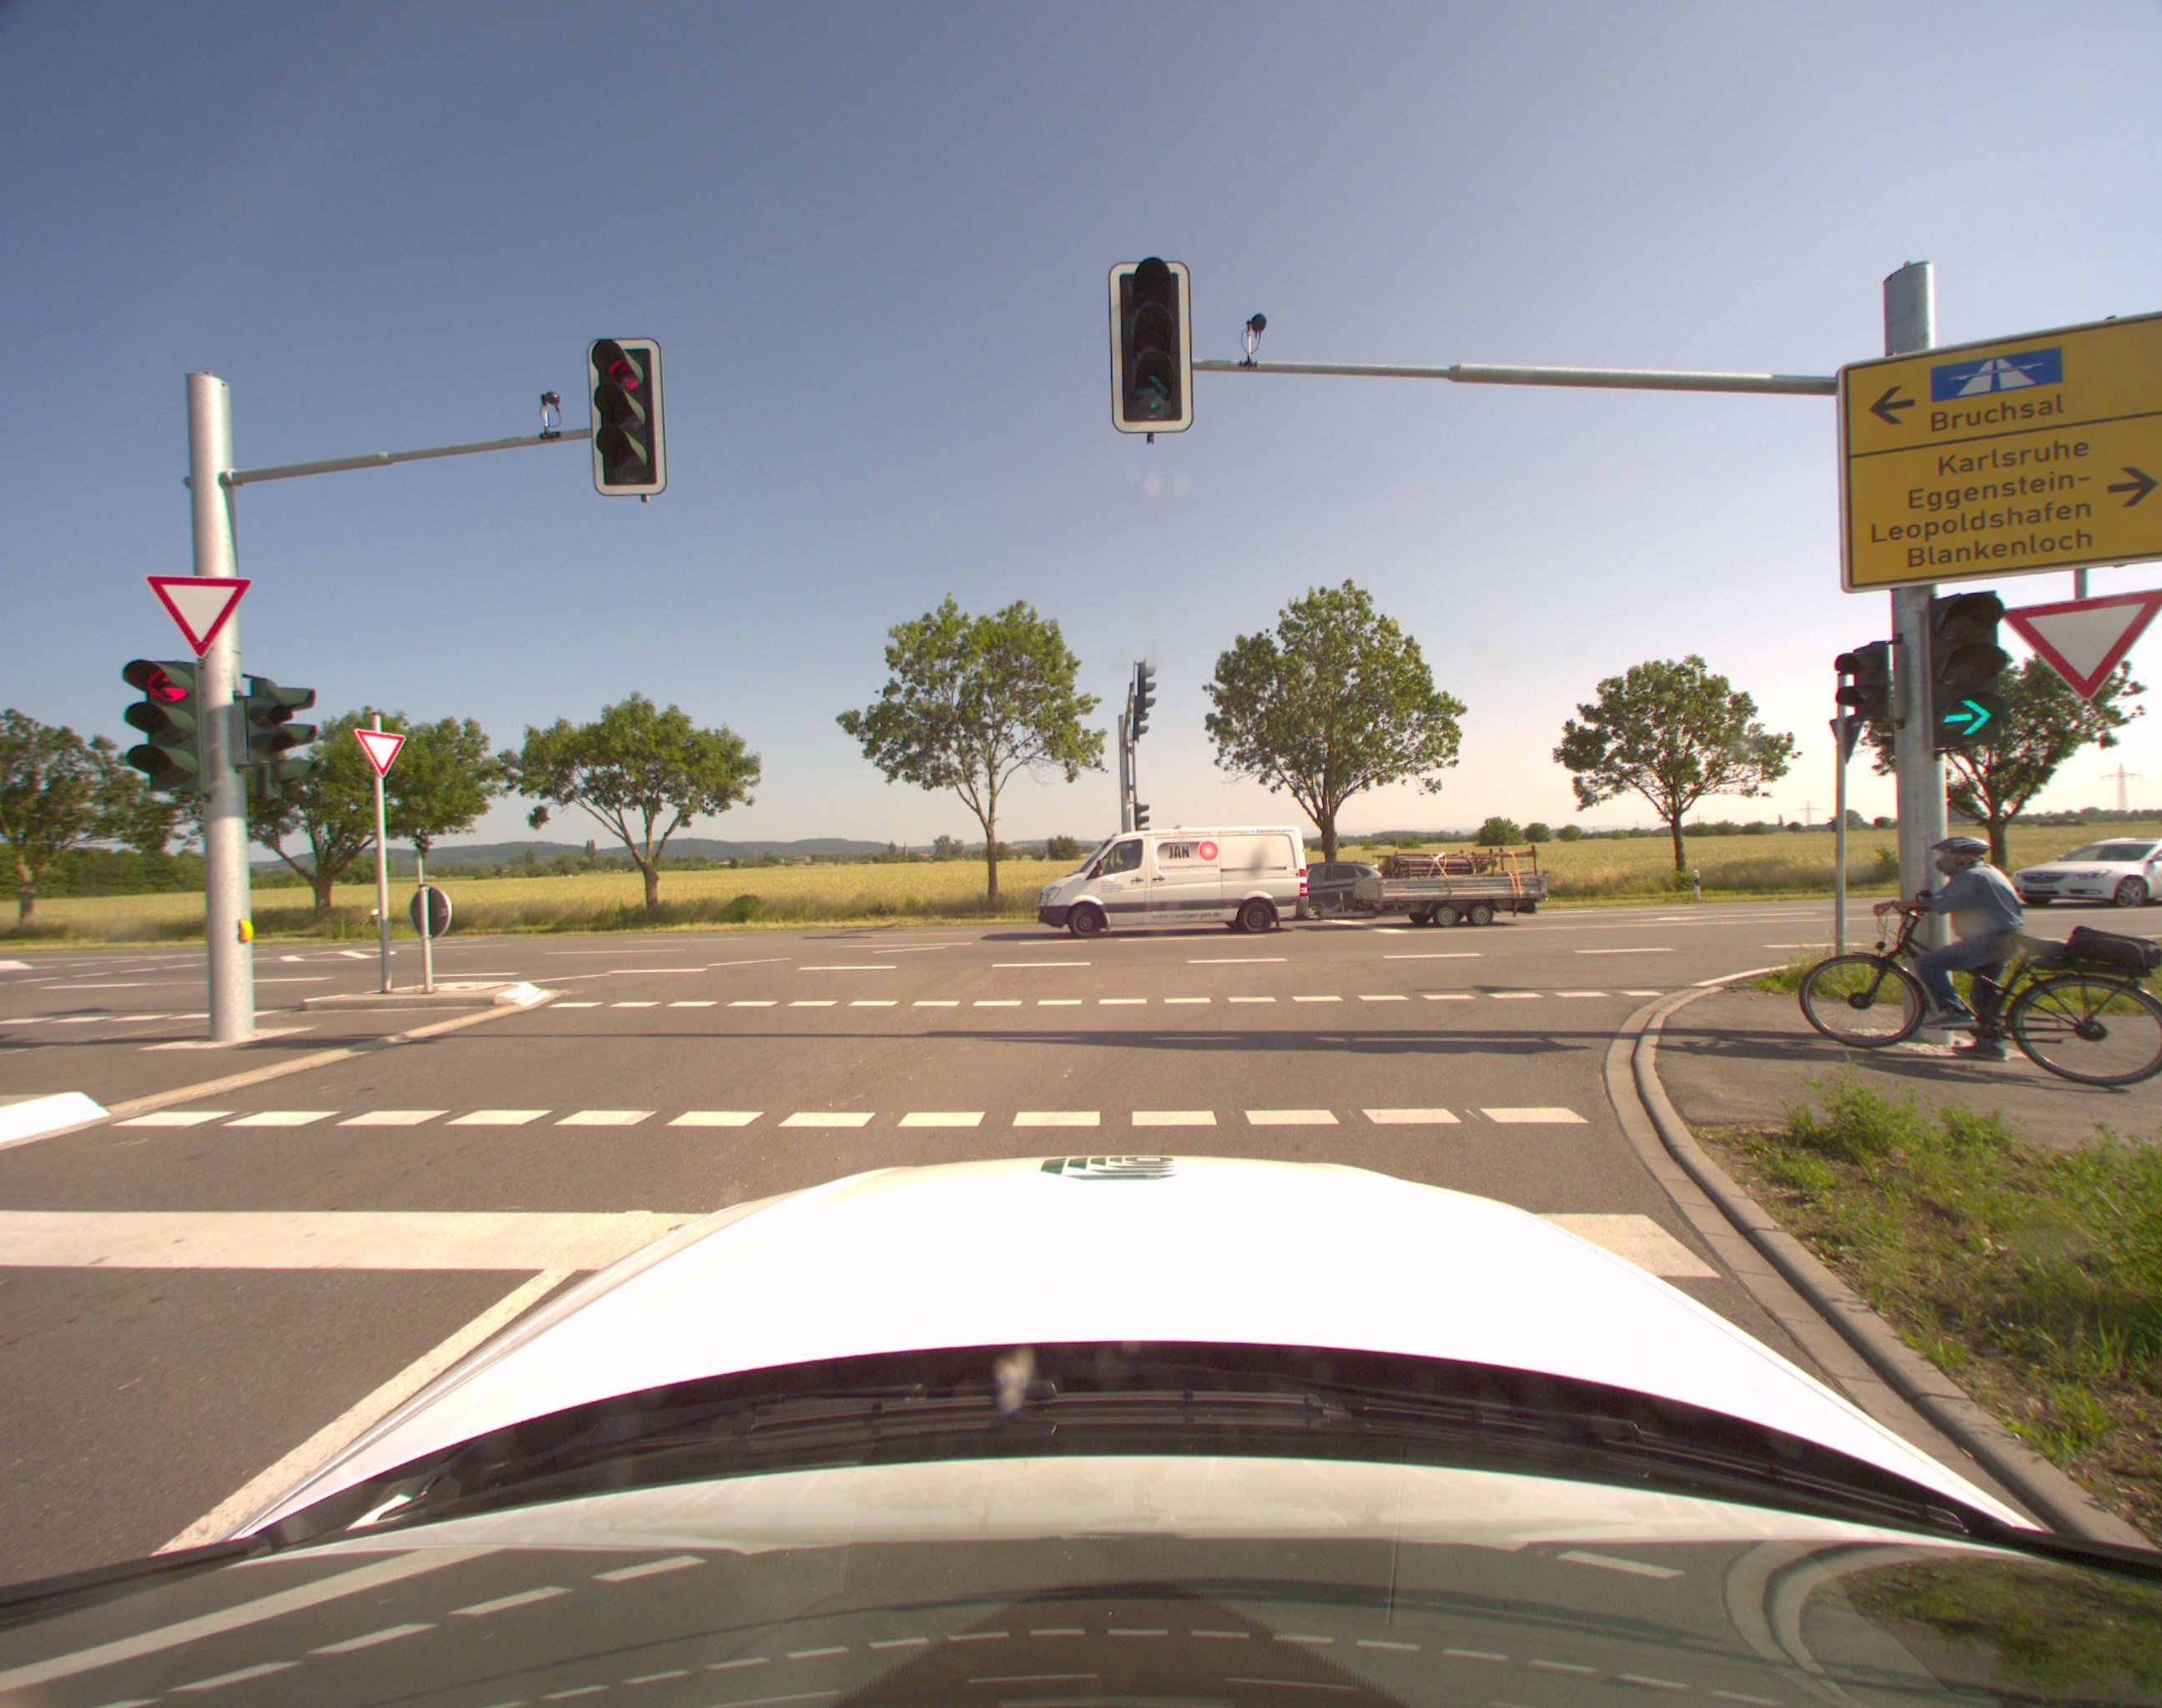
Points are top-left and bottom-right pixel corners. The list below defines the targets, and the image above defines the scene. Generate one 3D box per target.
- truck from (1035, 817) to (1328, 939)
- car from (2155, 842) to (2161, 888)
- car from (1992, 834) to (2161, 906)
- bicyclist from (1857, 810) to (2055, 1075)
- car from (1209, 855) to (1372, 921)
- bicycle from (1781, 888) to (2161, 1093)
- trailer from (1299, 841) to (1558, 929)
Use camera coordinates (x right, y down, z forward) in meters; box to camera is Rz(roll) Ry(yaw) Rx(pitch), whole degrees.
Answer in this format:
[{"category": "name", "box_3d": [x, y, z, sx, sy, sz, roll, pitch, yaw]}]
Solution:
[{"category": "truck", "box_3d": [2.108, 0.513, 18.219, 6.163, 2.405, 2.069, -2, -1, -3]}, {"category": "car", "box_3d": [34.285, 0.220, 23.475, 4.393, 1.377, 1.634, -2, -3, 0]}, {"category": "car", "box_3d": [24.036, 0.313, 18.578, 4.681, 1.492, 1.763, -2, -1, -3]}, {"category": "bicyclist", "box_3d": [6.342, 0.578, 5.949, 0.623, 1.765, 0.906, 1, 1, -44]}, {"category": "car", "box_3d": [5.667, 0.932, 22.425, 3.973, 1.626, 1.890, -2, -3, 0]}, {"category": "bicycle", "box_3d": [6.378, 0.887, 5.889, 0.685, 1.151, 1.921, 1, 1, -44]}, {"category": "trailer", "box_3d": [7.692, 0.689, 18.417, 4.979, 1.738, 1.981, -2, -1, 0]}]
